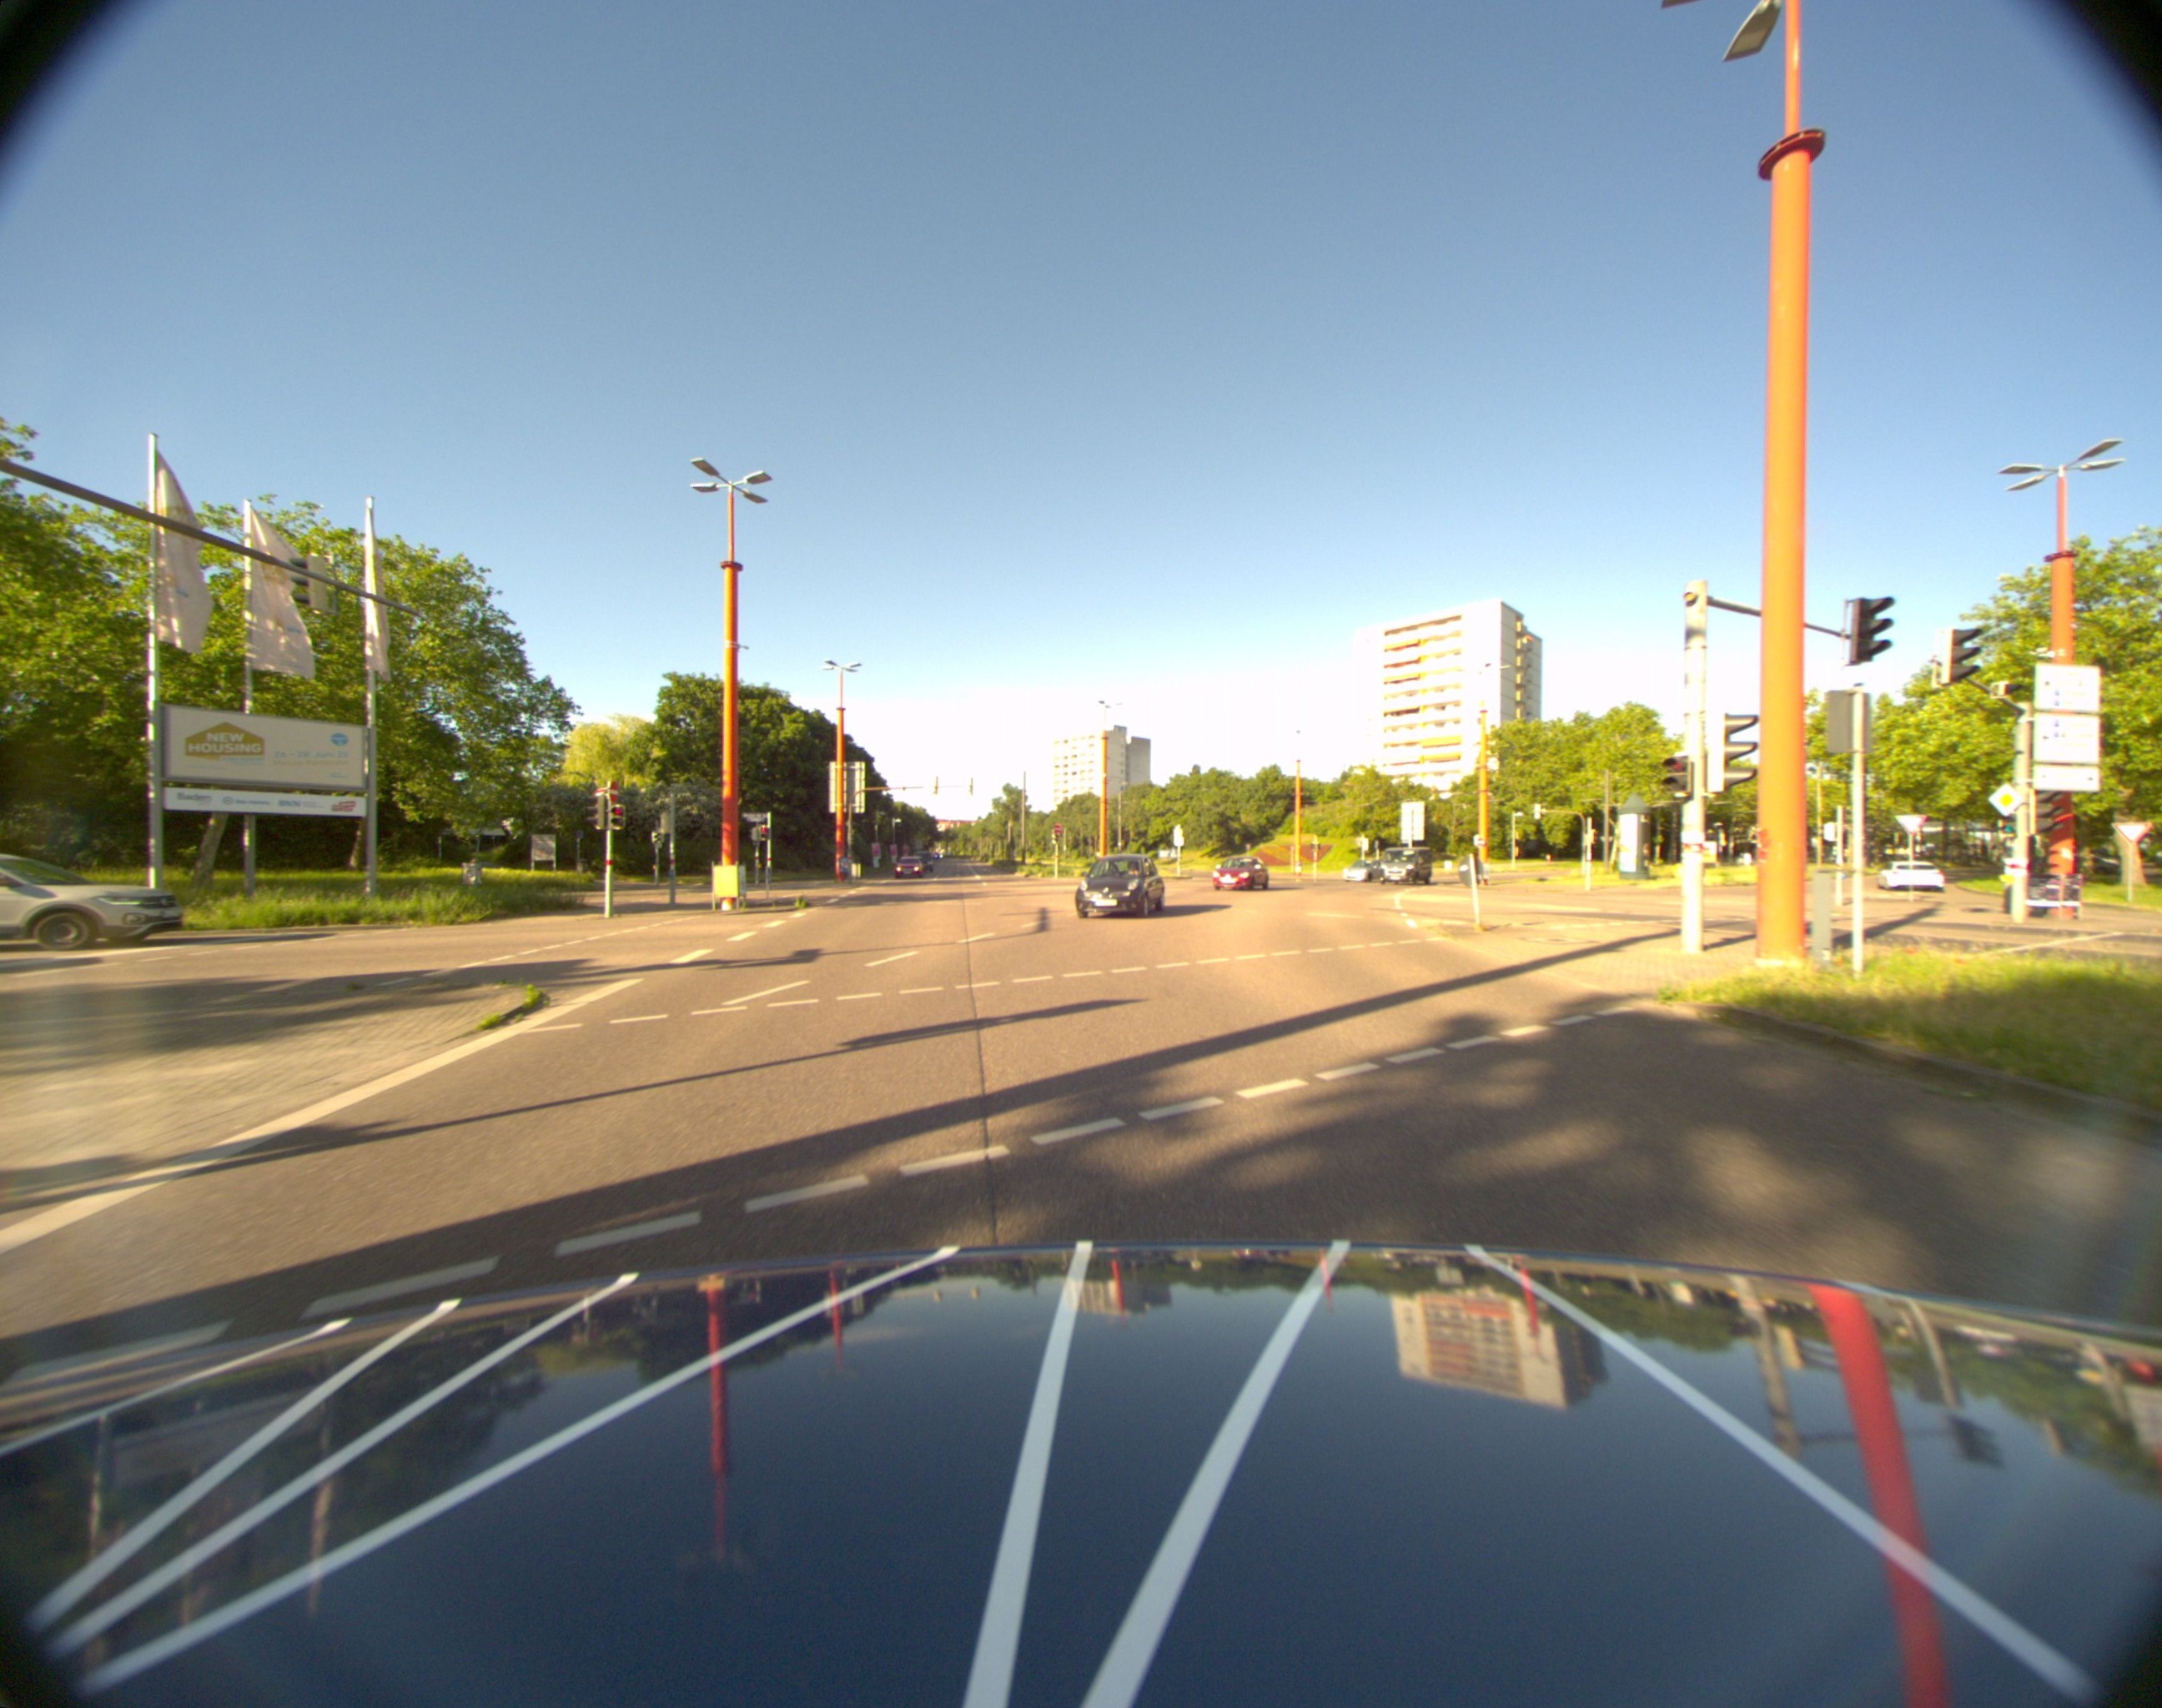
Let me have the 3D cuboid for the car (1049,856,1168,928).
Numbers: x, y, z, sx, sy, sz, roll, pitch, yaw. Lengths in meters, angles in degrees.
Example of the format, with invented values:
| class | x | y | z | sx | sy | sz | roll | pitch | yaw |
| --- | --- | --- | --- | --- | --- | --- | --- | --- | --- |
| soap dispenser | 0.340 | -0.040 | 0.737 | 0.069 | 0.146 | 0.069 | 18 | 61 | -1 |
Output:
| class | x | y | z | sx | sy | sz | roll | pitch | yaw |
| --- | --- | --- | --- | --- | --- | --- | --- | --- | --- |
| car | 0.814 | 0.802 | 18.317 | 1.737 | 1.474 | 4.628 | 0 | 0 | 17 |

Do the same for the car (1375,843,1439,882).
| class | x | y | z | sx | sy | sz | roll | pitch | yaw |
| --- | --- | --- | --- | --- | --- | --- | --- | --- | --- |
| car | 19.371 | 0.436 | 44.988 | 2.035 | 2.191 | 5.673 | 0 | 1 | 38 |

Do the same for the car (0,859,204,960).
| class | x | y | z | sx | sy | sz | roll | pitch | yaw |
| --- | --- | --- | --- | --- | --- | --- | --- | --- | --- |
| car | -17.472 | 0.865 | 12.163 | 4.097 | 1.529 | 1.769 | 0 | 0 | -28 |

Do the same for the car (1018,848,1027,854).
| class | x | y | z | sx | sy | sz | roll | pitch | yaw |
| --- | --- | --- | --- | --- | --- | --- | --- | --- | --- |
| car | -16.422 | -0.747 | 214.524 | 2.000 | 1.694 | 4.688 | -1 | 0 | -11 |

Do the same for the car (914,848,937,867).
| class | x | y | z | sx | sy | sz | roll | pitch | yaw |
| --- | --- | --- | --- | --- | --- | --- | --- | --- | --- |
| car | -14.814 | 0.341 | 72.586 | 2.000 | 1.722 | 4.814 | 0 | 0 | -9 |

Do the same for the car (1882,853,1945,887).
| class | x | y | z | sx | sy | sz | roll | pitch | yaw |
| --- | --- | --- | --- | --- | --- | --- | --- | --- | --- |
| car | 40.972 | 0.739 | 37.470 | 4.269 | 1.542 | 1.898 | 0 | 3 | -44 |

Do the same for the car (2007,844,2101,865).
| class | x | y | z | sx | sy | sz | roll | pitch | yaw |
| --- | --- | --- | --- | --- | --- | --- | --- | --- | --- |
| car | 71.211 | 0.035 | 55.664 | 4.042 | 1.478 | 1.817 | -1 | -1 | 12 |

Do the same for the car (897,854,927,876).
| class | x | y | z | sx | sy | sz | roll | pitch | yaw |
| --- | --- | --- | --- | --- | --- | --- | --- | --- | --- |
| car | -11.986 | 0.724 | 54.063 | 2.000 | 1.486 | 4.284 | 0 | 0 | -11 |

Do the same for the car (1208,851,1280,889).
| class | x | y | z | sx | sy | sz | roll | pitch | yaw |
| --- | --- | --- | --- | --- | --- | --- | --- | --- | --- |
| car | 7.183 | 0.648 | 33.069 | 1.768 | 1.549 | 4.735 | 0 | 0 | 29 |

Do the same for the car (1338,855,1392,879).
| class | x | y | z | sx | sy | sz | roll | pitch | yaw |
| --- | --- | --- | --- | --- | --- | --- | --- | --- | --- |
| car | 19.121 | 0.828 | 51.110 | 1.909 | 1.549 | 4.736 | 0 | 0 | 40 |
